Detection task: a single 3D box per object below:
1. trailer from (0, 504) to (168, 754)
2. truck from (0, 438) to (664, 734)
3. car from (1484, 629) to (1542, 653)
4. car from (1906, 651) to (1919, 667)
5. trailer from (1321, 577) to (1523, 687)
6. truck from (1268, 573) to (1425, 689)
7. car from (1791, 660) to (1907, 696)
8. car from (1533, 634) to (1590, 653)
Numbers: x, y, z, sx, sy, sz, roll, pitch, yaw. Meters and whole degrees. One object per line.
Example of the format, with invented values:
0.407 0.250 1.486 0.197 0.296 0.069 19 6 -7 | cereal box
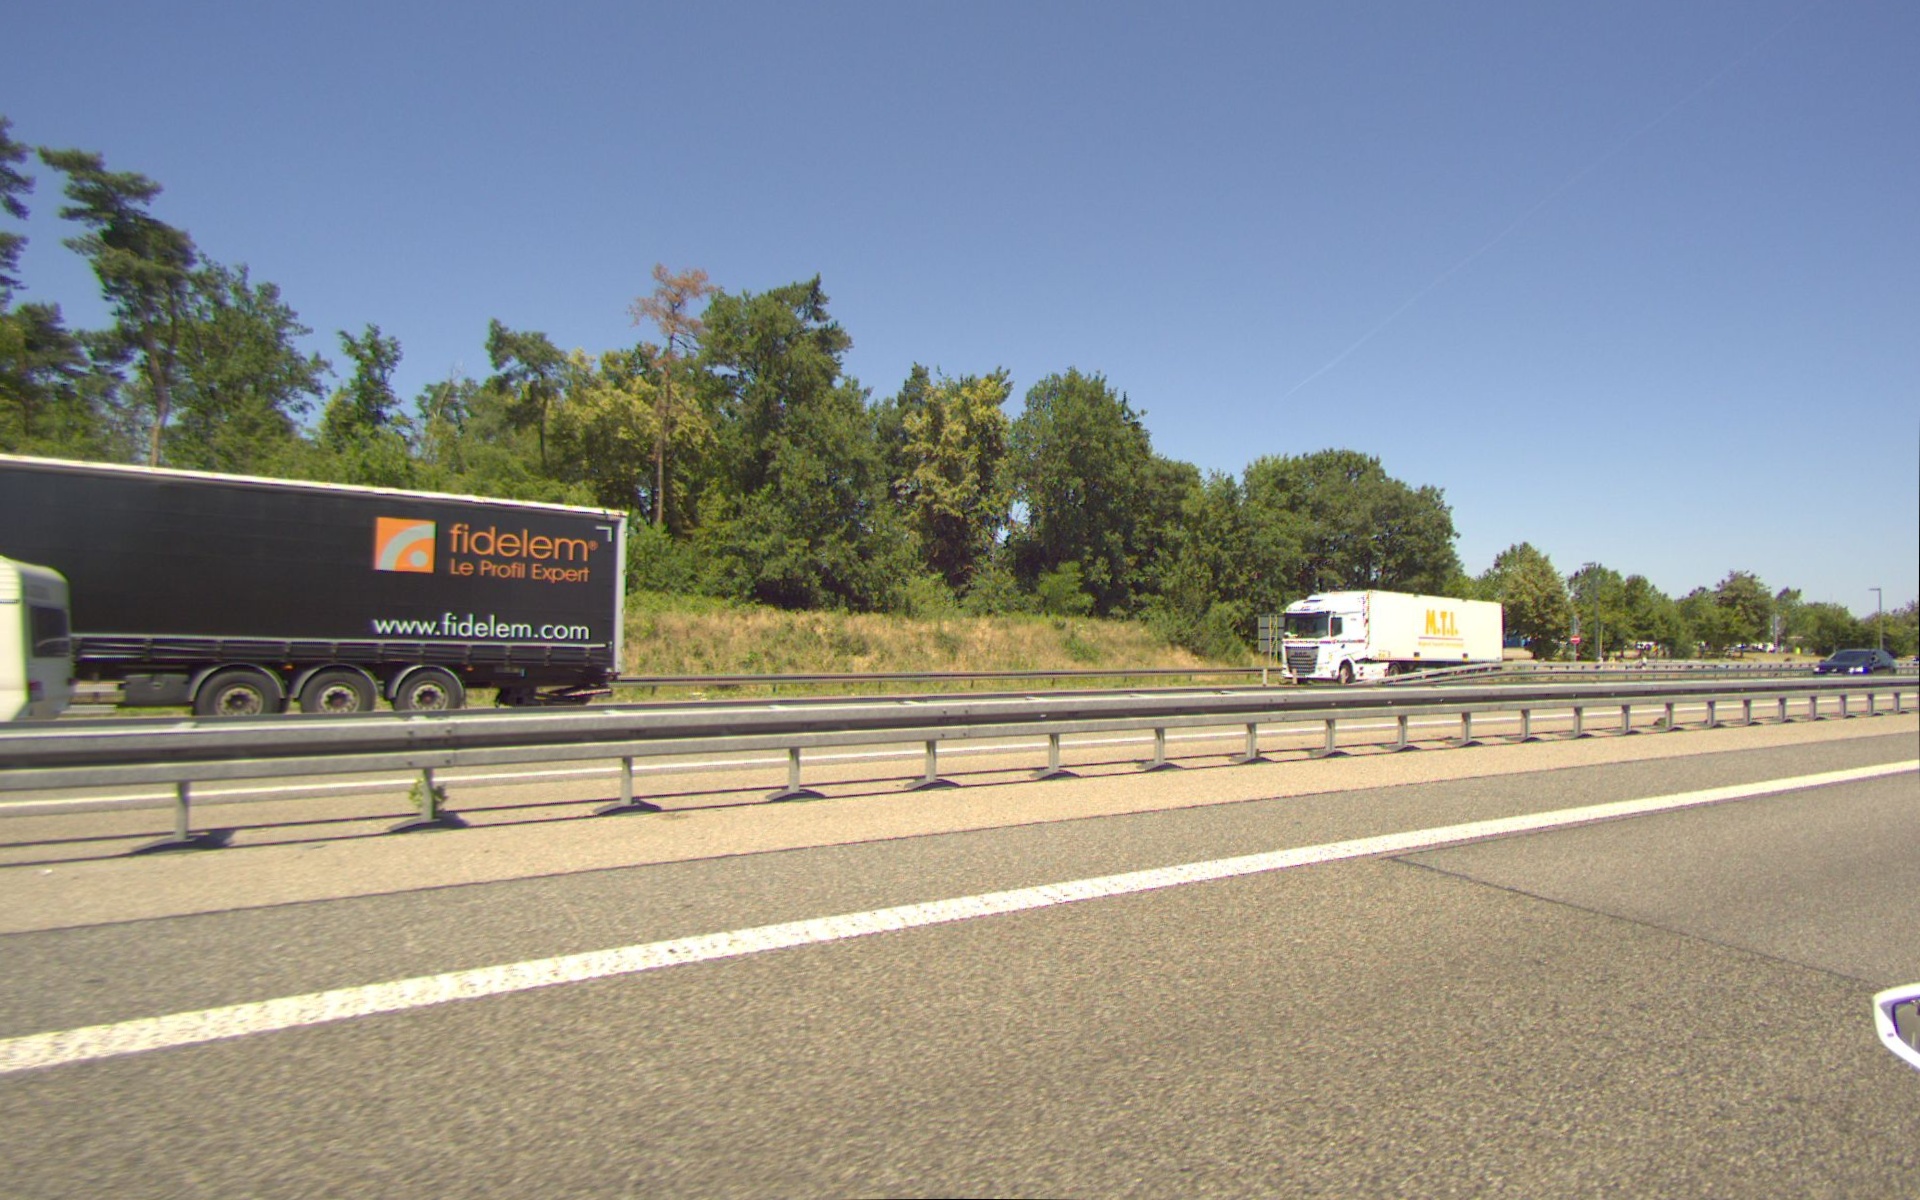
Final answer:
-12.523 0.345 11.527 5.017 2.783 2.465 2 -4 -31 | trailer
-13.431 -0.132 15.540 16.672 4.048 3.310 2 -2 -31 | truck
69.364 5.088 126.065 6.086 2.786 2.477 1 0 23 | car
94.781 5.787 98.207 4.834 1.571 2.042 2 -4 -31 | car
23.310 1.686 50.081 13.641 4.890 3.049 2 -4 -38 | trailer
17.718 1.503 45.834 7.646 4.890 3.049 2 -4 -38 | truck
36.748 3.200 41.515 4.834 1.398 2.217 2 -4 -31 | car
79.275 5.719 132.429 6.086 2.152 2.477 1 0 23 | car
